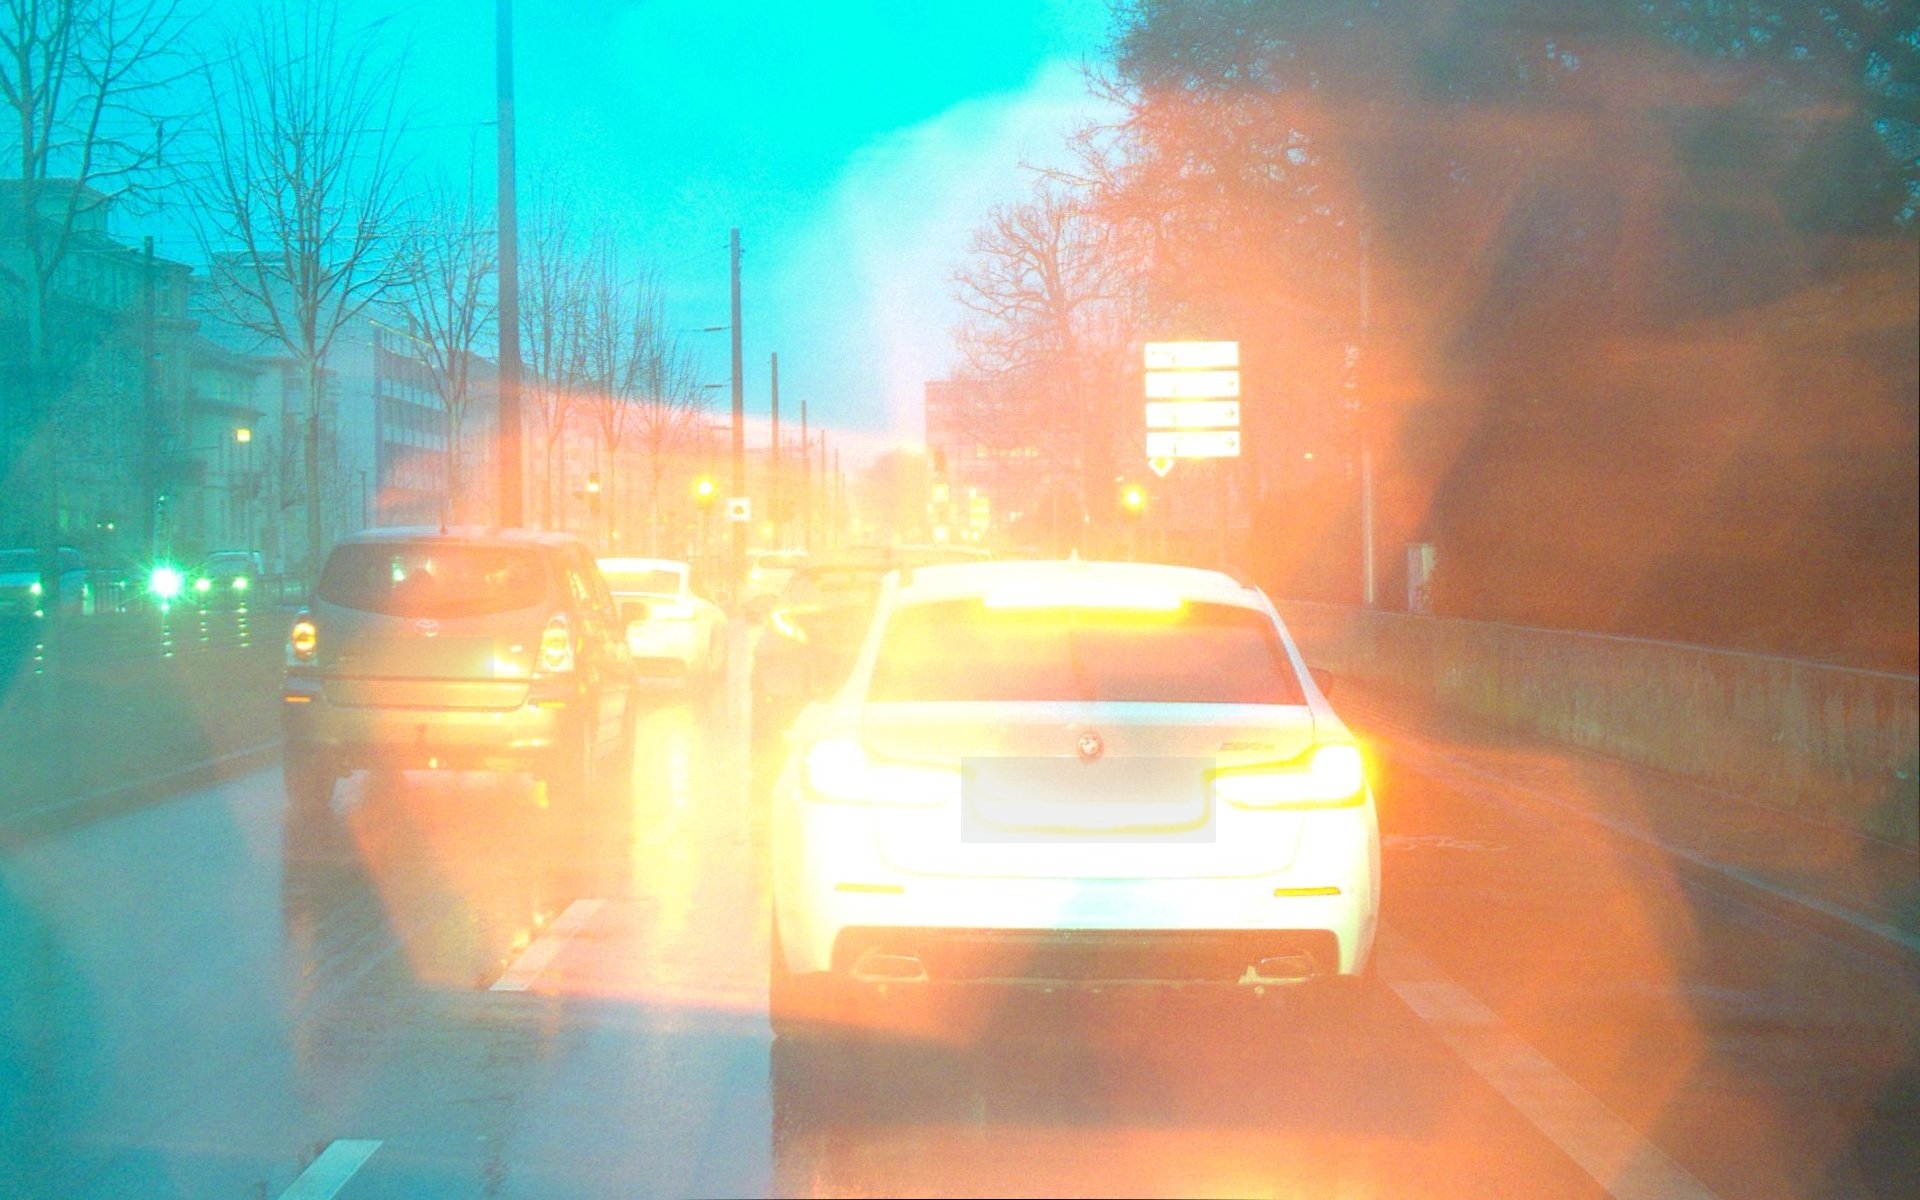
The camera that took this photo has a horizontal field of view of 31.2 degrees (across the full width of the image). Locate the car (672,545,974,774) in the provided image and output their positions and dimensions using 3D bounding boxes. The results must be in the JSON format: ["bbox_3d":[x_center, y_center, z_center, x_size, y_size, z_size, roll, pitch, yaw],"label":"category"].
[{"bbox_3d":[-0.886,0.349,24.217,1.936,1.452,4.163,0,1,0],"label":"car"}]

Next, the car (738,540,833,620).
[{"bbox_3d":[-3.681,-0.447,73.212,1.806,1.640,4.000,1,1,0],"label":"car"}]

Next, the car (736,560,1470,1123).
[{"bbox_3d":[0.384,0.638,11.490,1.999,1.503,4.163,0,1,0],"label":"car"}]

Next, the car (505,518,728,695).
[{"bbox_3d":[-3.585,0.046,36.516,1.993,1.749,4.000,1,1,-1],"label":"car"}]

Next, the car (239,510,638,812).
[{"bbox_3d":[-3.057,0.297,20.895,1.806,1.640,4.000,1,1,0],"label":"car"}]

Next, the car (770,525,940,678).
[{"bbox_3d":[-1.149,-0.024,39.352,1.806,1.640,4.000,1,1,0],"label":"car"}]

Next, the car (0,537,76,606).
[{"bbox_3d":[-23.972,-0.743,87.711,1.895,1.713,5.119,-1,1,-5],"label":"car"}]
